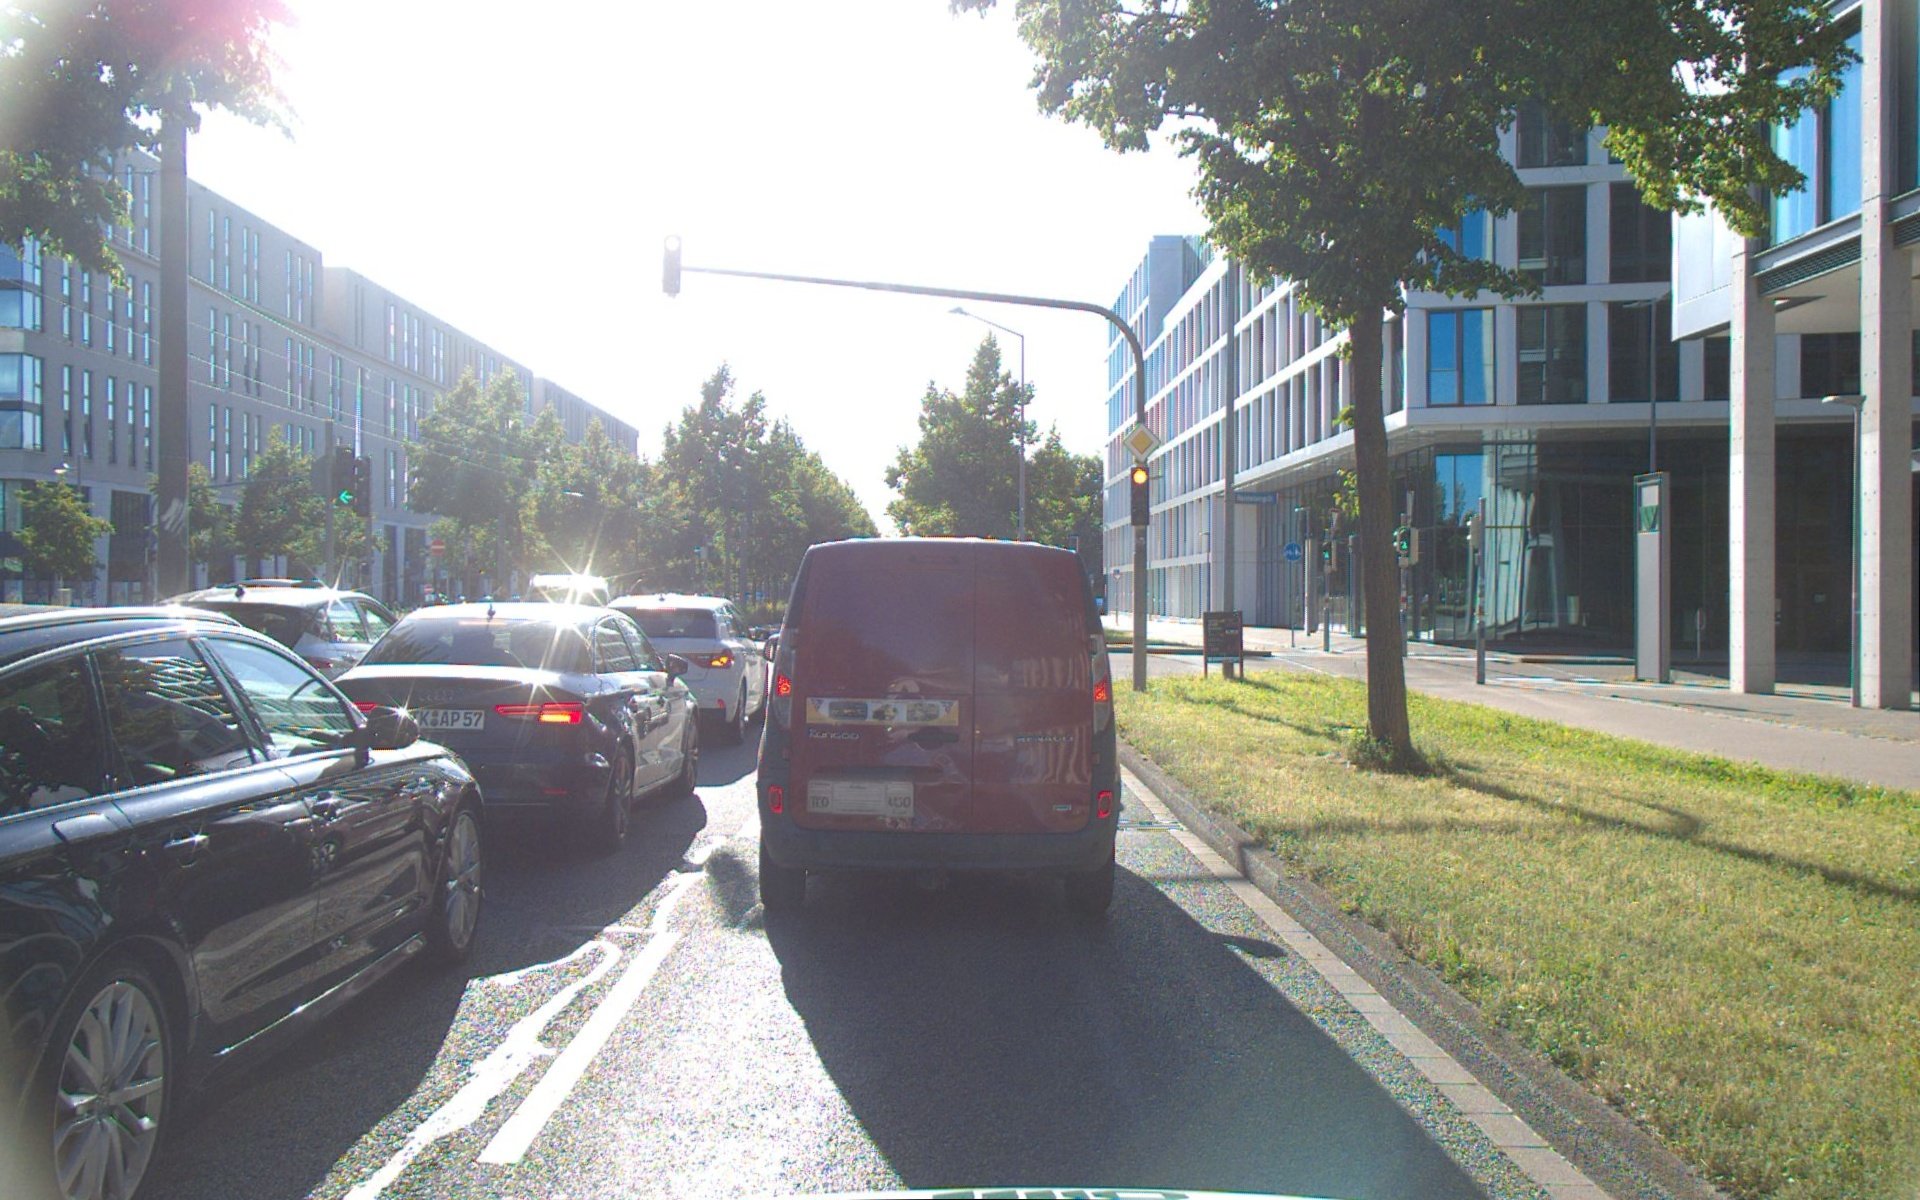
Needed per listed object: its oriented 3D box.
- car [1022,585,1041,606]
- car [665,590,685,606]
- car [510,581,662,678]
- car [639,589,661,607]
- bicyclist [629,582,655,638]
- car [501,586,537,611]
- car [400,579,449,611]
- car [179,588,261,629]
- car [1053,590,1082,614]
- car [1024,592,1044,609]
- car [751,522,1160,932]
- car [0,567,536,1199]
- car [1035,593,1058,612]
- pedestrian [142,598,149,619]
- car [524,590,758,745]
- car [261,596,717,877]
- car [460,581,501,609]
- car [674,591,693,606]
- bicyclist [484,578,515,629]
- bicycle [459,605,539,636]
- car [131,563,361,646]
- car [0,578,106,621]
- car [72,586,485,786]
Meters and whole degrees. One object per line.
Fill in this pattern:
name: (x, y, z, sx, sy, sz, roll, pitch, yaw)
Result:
car: (8.582, -0.528, 198.465, 1.953, 2.540, 4.986, 0, 0, -1)
car: (-37.353, -0.221, 216.678, 1.953, 2.049, 3.999, 0, 0, -1)
car: (-6.310, 0.439, 28.398, 1.763, 1.472, 4.566, 1, 1, -3)
car: (-37.214, -0.260, 198.663, 1.953, 2.049, 3.999, 0, 0, -1)
bicyclist: (-12.281, 0.372, 63.877, 0.921, 2.129, 0.817, 0, 0, -5)
car: (-36.244, -0.151, 135.949, 1.953, 2.049, 3.999, 0, 0, -1)
car: (-35.283, -0.318, 109.113, 1.953, 2.049, 3.999, 0, 0, -1)
car: (-34.744, 0.369, 77.775, 1.953, 1.845, 4.369, 0, 0, -1)
car: (8.328, 0.140, 128.089, 1.953, 1.813, 3.999, 0, 0, -1)
car: (8.068, 0.056, 179.939, 1.953, 1.813, 3.999, 0, 0, -1)
car: (-0.050, 0.556, 9.336, 1.804, 1.812, 3.999, 0, 0, -1)
car: (-2.777, 0.683, 5.054, 1.836, 1.510, 4.965, 0, 0, -2)
car: (8.423, 0.225, 160.744, 1.953, 1.813, 3.999, 0, 0, -1)
pedestrian: (-43.977, 0.458, 89.311, 0.248, 1.104, 0.289, 0, 0, -1)
car: (-3.229, 0.624, 17.487, 1.767, 1.451, 3.900, 0, 0, -1)
car: (-2.789, 0.713, 10.854, 1.804, 1.451, 4.338, 0, 0, -1)
car: (-35.833, -0.388, 123.643, 1.953, 2.049, 3.999, 0, 0, -1)
car: (-37.165, -0.199, 222.305, 1.953, 2.049, 3.999, 0, 0, -1)
bicyclist: (-17.883, 0.141, 64.195, 0.978, 1.981, 0.817, 0, 0, -2)
bicycle: (-17.869, 0.797, 64.179, 2.882, 1.211, 0.817, 0, 0, -2)
car: (-15.834, 0.096, 36.744, 4.458, 1.508, 1.806, 4, 0, 15)
car: (-33.197, -0.033, 60.655, 1.729, 1.546, 3.999, 0, 0, -1)
car: (-5.676, 0.620, 14.476, 1.762, 1.473, 4.568, 0, 0, -1)
